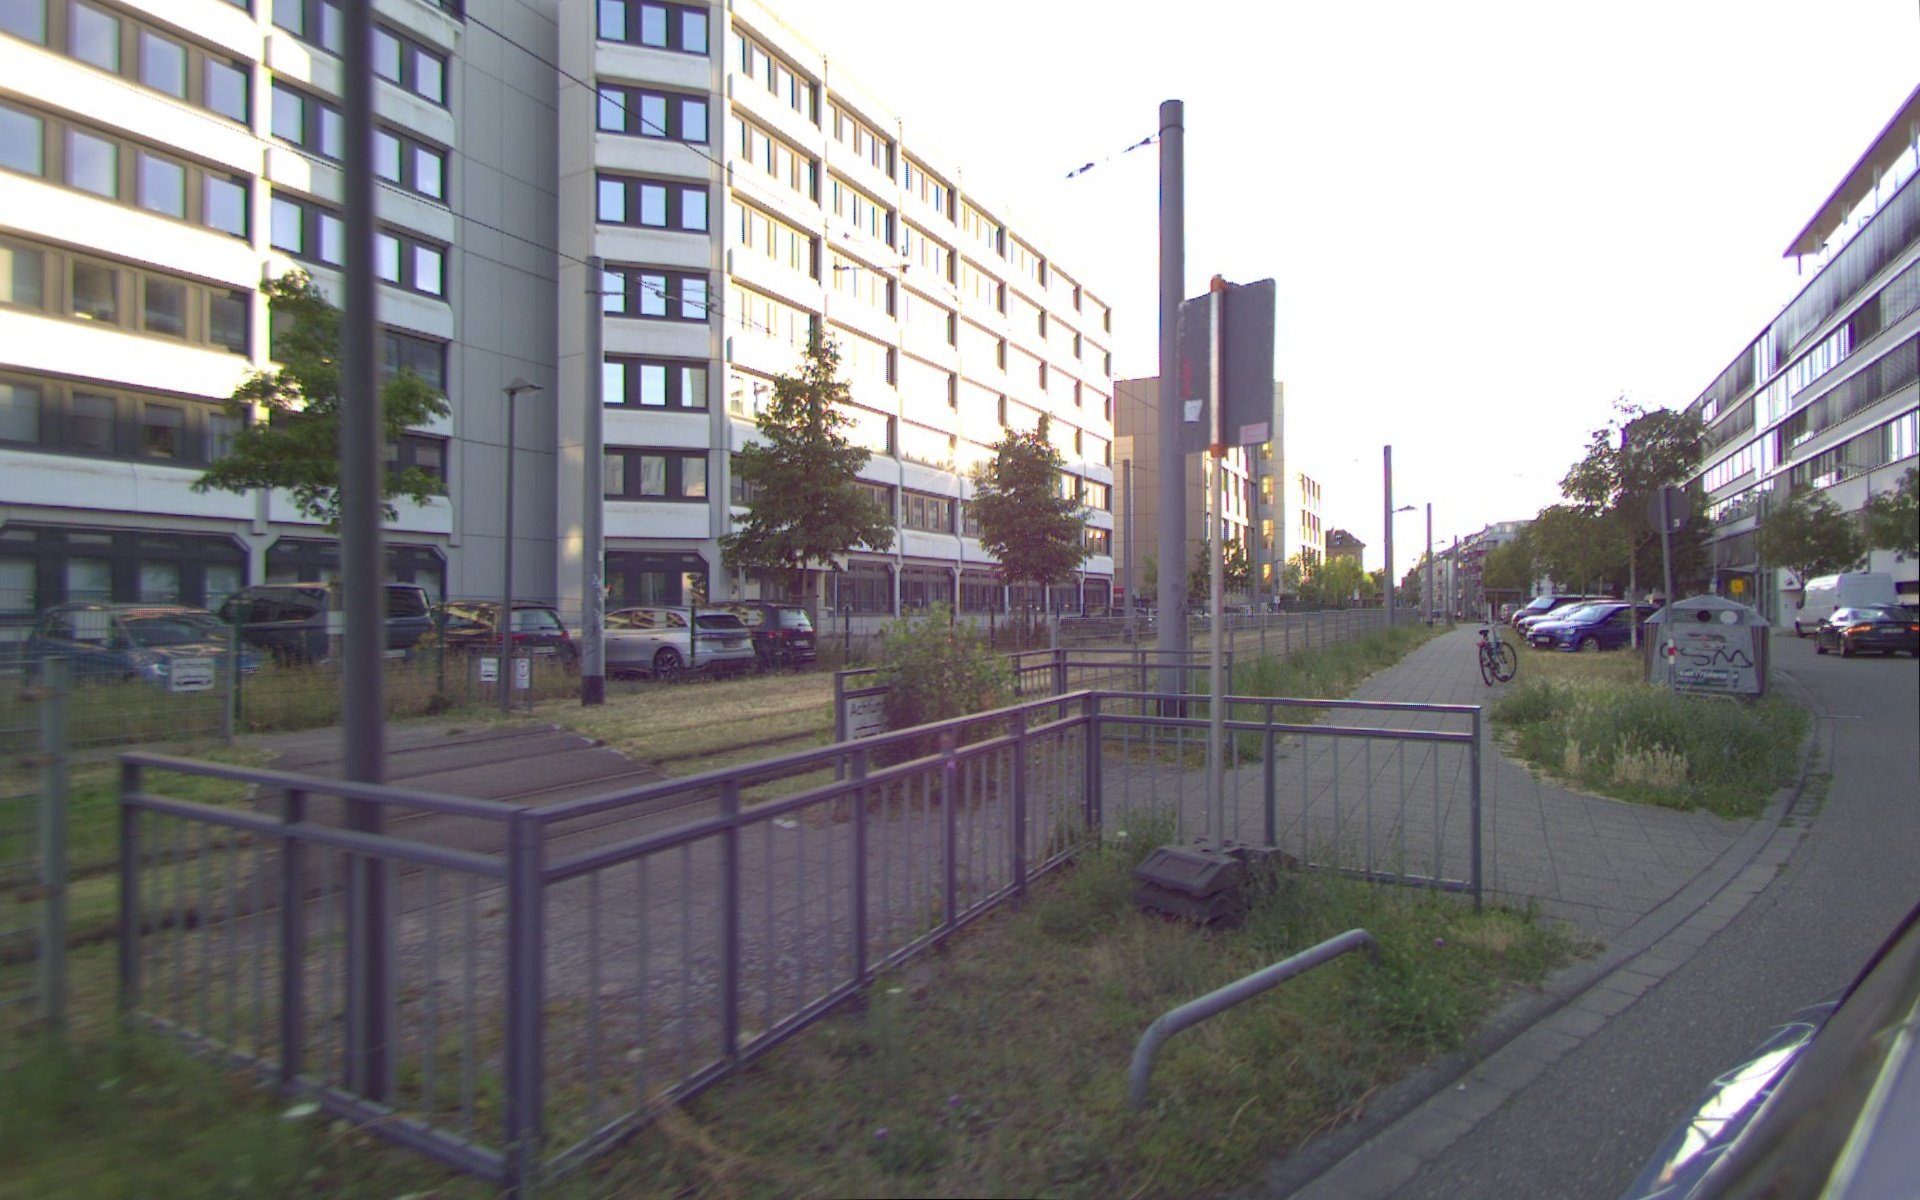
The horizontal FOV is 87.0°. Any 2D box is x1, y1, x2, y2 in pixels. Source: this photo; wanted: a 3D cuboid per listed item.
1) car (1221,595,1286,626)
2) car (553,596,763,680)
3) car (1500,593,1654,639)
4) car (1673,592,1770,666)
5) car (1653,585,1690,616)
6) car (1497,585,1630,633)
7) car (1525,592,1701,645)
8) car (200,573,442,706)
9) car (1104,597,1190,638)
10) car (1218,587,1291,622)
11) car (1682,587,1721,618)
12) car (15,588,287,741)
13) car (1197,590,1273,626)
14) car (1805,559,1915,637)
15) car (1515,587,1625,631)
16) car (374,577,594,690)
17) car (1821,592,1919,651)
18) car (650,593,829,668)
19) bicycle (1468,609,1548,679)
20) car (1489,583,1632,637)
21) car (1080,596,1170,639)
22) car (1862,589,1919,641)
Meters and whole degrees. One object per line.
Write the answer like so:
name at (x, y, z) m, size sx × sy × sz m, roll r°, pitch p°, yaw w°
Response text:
car at (19.881, 0.712, 68.602) m, size 3.961 × 2.039 × 1.981 m, roll -1°, pitch -1°, yaw 27°
car at (-6.426, 0.756, 21.413) m, size 4.369 × 1.613 × 1.798 m, roll -1°, pitch -1°, yaw 31°
car at (19.371, 0.492, 31.853) m, size 3.918 × 1.394 × 1.720 m, roll 0°, pitch -1°, yaw -9°
car at (17.200, 0.611, 22.970) m, size 1.621 × 1.531 × 3.374 m, roll 0°, pitch 0°, yaw 35°
car at (60.139, 0.048, 85.561) m, size 1.980 × 2.618 × 3.962 m, roll 0°, pitch 0°, yaw 27°
car at (22.034, 0.323, 37.021) m, size 3.919 × 1.665 × 1.720 m, roll 0°, pitch -1°, yaw -6°
car at (18.102, 0.496, 28.135) m, size 3.918 × 1.394 × 1.720 m, roll 0°, pitch -1°, yaw -9°
car at (-11.047, 0.627, 17.461) m, size 3.967 × 2.039 × 1.978 m, roll -1°, pitch -1°, yaw 31°
car at (9.619, 0.869, 52.077) m, size 3.961 × 2.039 × 1.981 m, roll -1°, pitch -1°, yaw 27°
car at (17.772, 0.280, 61.025) m, size 3.961 × 2.039 × 1.981 m, roll -1°, pitch -1°, yaw 27°
car at (53.206, 0.221, 72.677) m, size 1.985 × 2.040 × 3.953 m, roll 0°, pitch -2°, yaw 32°
car at (-12.323, 0.879, 15.389) m, size 3.967 × 2.039 × 1.978 m, roll -1°, pitch -1°, yaw 31°
car at (15.976, 0.461, 58.728) m, size 3.961 × 2.039 × 1.981 m, roll -1°, pitch -1°, yaw 27°
car at (36.029, -0.084, 40.712) m, size 1.988 × 2.912 × 6.189 m, roll 1°, pitch 0°, yaw 29°
car at (28.183, 0.394, 46.830) m, size 4.089 × 1.984 × 1.720 m, roll 0°, pitch -1°, yaw -6°
car at (-9.513, 0.627, 20.170) m, size 4.239 × 2.039 × 1.978 m, roll -1°, pitch -1°, yaw 31°
car at (26.002, 0.565, 28.494) m, size 1.845 × 1.517 × 4.623 m, roll -3°, pitch -2°, yaw 31°
car at (-5.197, 0.688, 23.755) m, size 3.967 × 1.613 × 1.798 m, roll -1°, pitch -1°, yaw 31°
bicycle at (9.521, 0.740, 17.563) m, size 1.891 × 1.149 × 0.542 m, roll 0°, pitch -1°, yaw -40°
car at (20.431, 0.338, 34.516) m, size 3.919 × 1.779 × 1.720 m, roll 0°, pitch -1°, yaw -6°
car at (8.104, 0.853, 49.660) m, size 3.961 × 2.039 × 1.981 m, roll -1°, pitch -1°, yaw 27°
car at (33.618, 0.515, 35.488) m, size 1.778 × 1.724 × 3.967 m, roll 1°, pitch 0°, yaw 24°
